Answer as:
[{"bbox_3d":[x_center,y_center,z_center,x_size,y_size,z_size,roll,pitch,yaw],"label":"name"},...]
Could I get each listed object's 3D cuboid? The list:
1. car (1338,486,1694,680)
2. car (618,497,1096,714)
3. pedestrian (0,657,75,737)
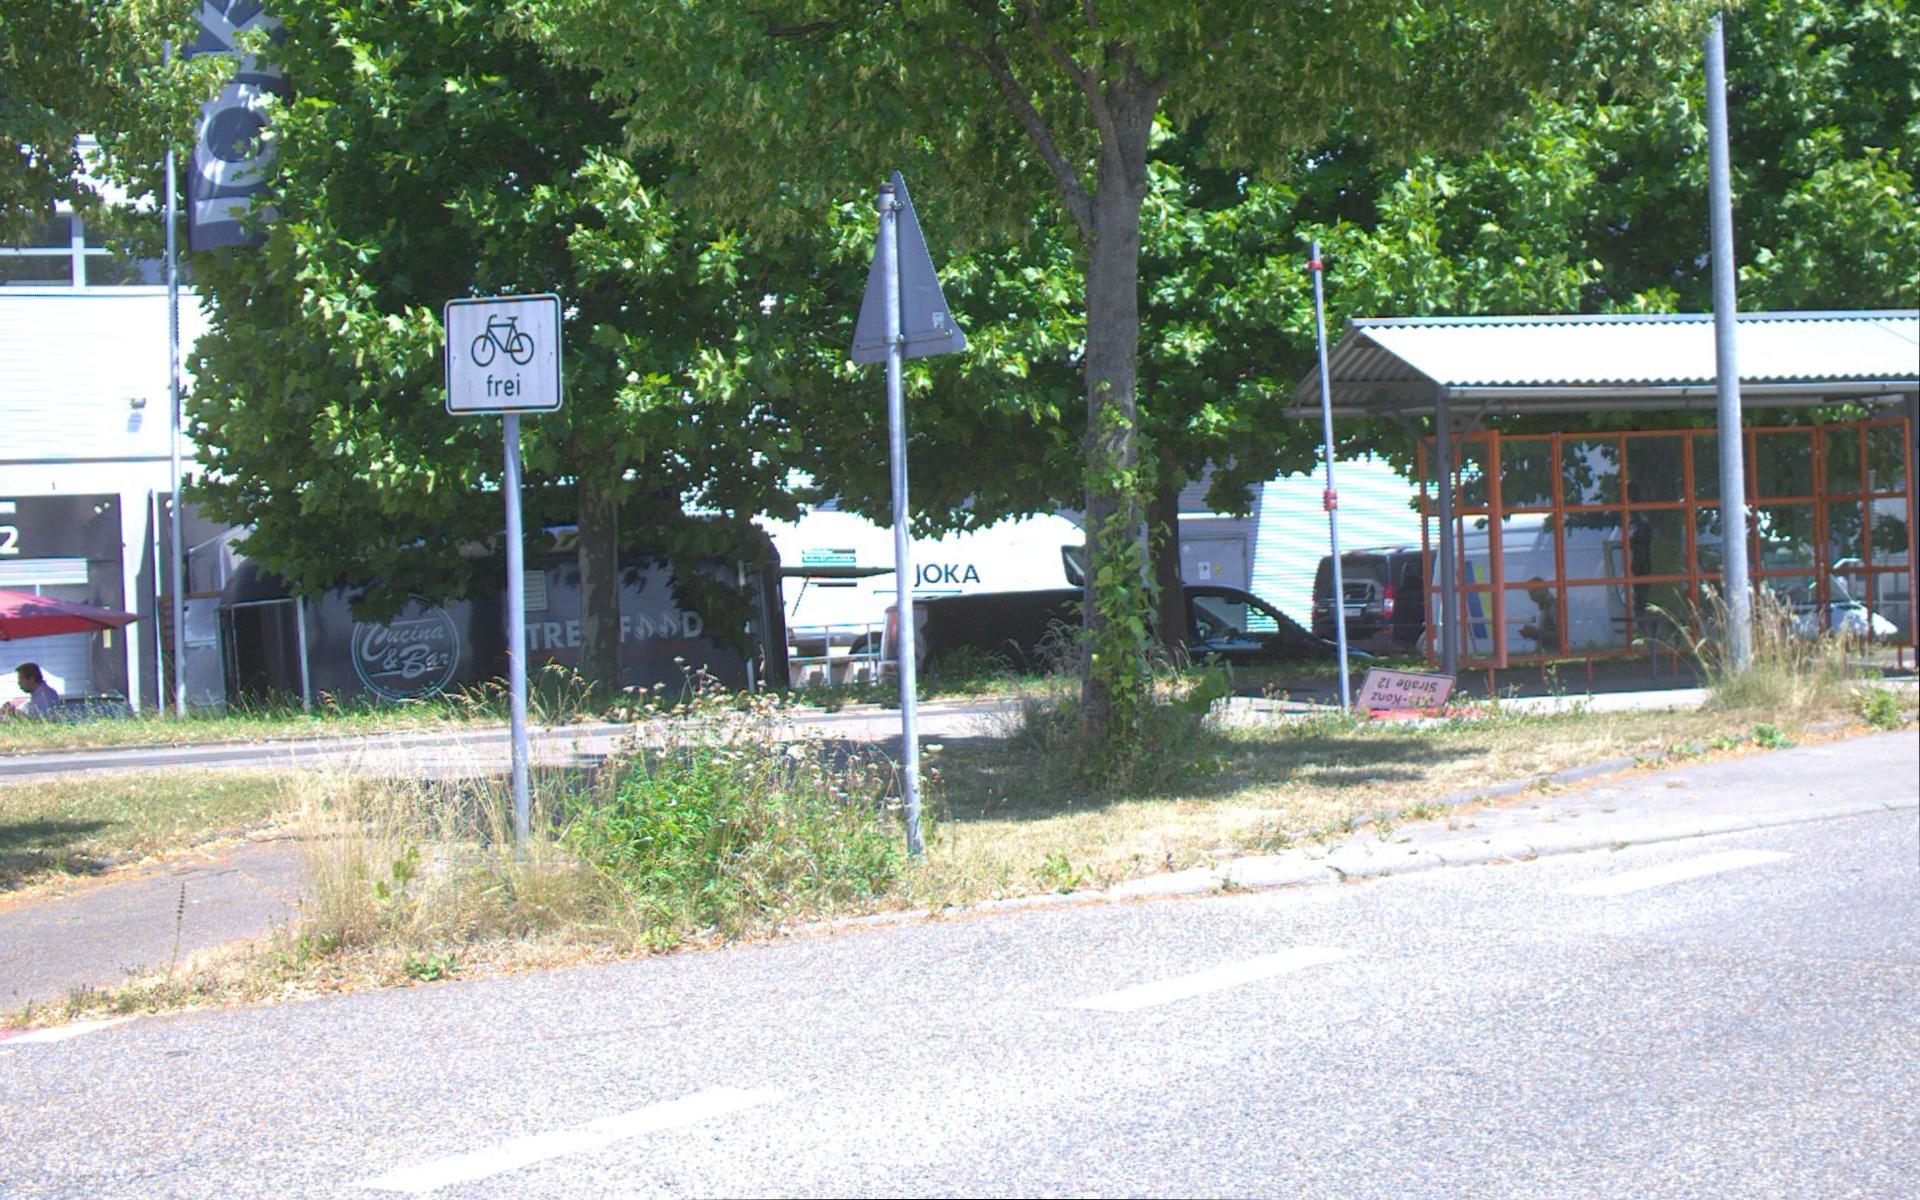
[{"bbox_3d":[6.180,-0.139,38.709,1.544,2.007,4.265,0,-2,-31],"label":"car"},{"bbox_3d":[-0.975,0.043,31.906,3.986,1.722,1.841,-4,0,-18],"label":"car"},{"bbox_3d":[-8.645,0.901,31.609,0.864,0.693,0.408,-3,0,4],"label":"pedestrian"}]
